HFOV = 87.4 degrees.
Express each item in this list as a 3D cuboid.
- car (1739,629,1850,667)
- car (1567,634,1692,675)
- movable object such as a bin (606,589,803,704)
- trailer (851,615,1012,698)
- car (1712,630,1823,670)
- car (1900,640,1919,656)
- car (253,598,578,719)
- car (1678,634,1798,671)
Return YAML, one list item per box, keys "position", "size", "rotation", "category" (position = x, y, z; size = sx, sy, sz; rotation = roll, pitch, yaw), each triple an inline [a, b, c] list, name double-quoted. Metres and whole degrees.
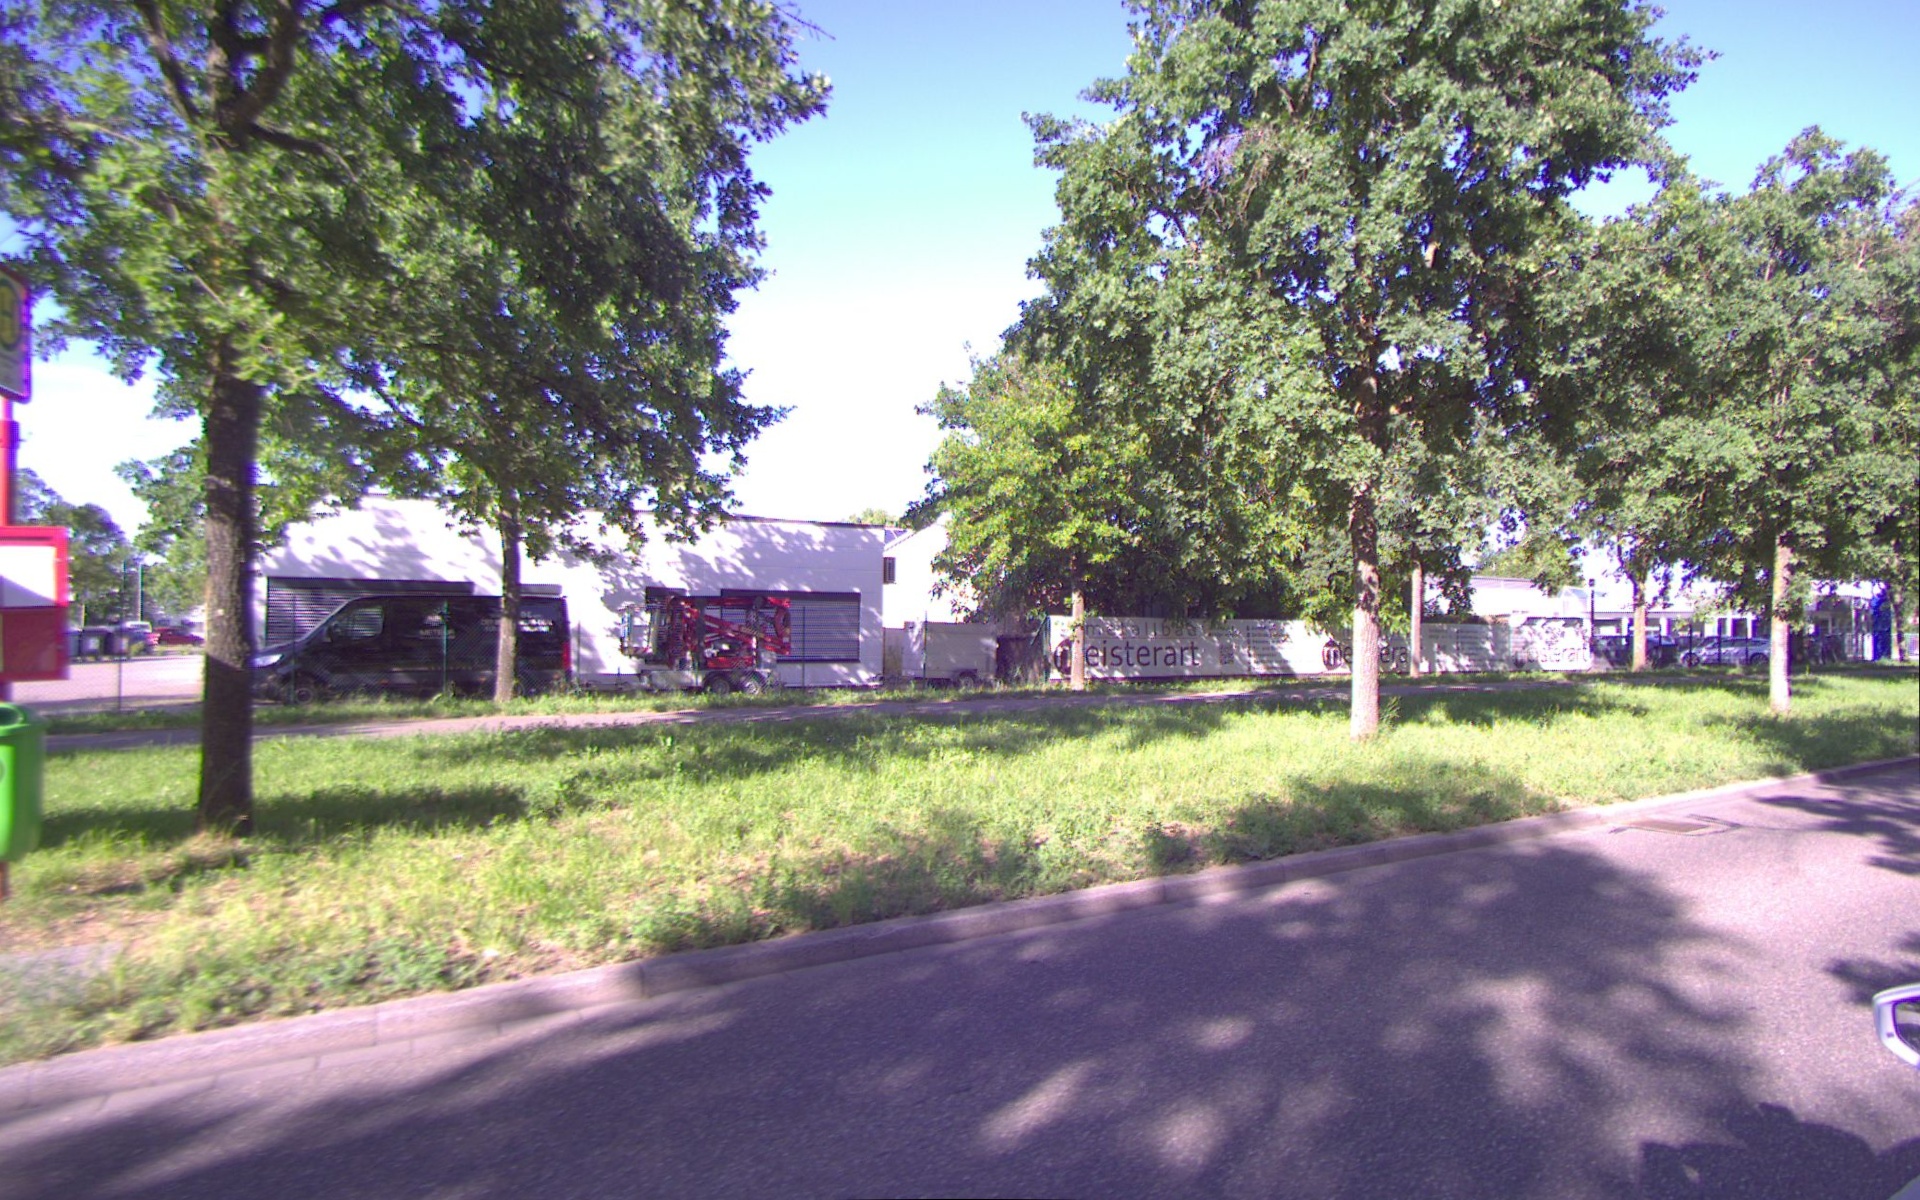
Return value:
- position: [43.134, 2.463, 51.982]
  size: [1.977, 1.765, 3.968]
  rotation: [2, 0, -30]
  category: "car"
- position: [29.093, 2.341, 43.758]
  size: [2.173, 1.539, 3.967]
  rotation: [2, 0, -31]
  category: "car"
- position: [-6.150, 1.090, 24.214]
  size: [4.186, 2.549, 1.984]
  rotation: [2, 0, -30]
  category: "movable object such as a bin"
- position: [-0.745, 1.452, 26.575]
  size: [3.915, 2.040, 1.747]
  rotation: [1, -1, -29]
  category: "trailer"
- position: [40.607, 2.473, 50.613]
  size: [1.840, 1.769, 3.967]
  rotation: [2, 0, -31]
  category: "car"
- position: [98.524, 4.915, 103.514]
  size: [4.847, 1.587, 1.976]
  rotation: [2, 0, -41]
  category: "car"
- position: [-11.000, 1.134, 20.674]
  size: [5.605, 2.203, 1.984]
  rotation: [1, -1, -31]
  category: "car"
- position: [38.005, 2.523, 49.186]
  size: [1.840, 1.539, 4.289]
  rotation: [2, 0, -31]
  category: "car"
